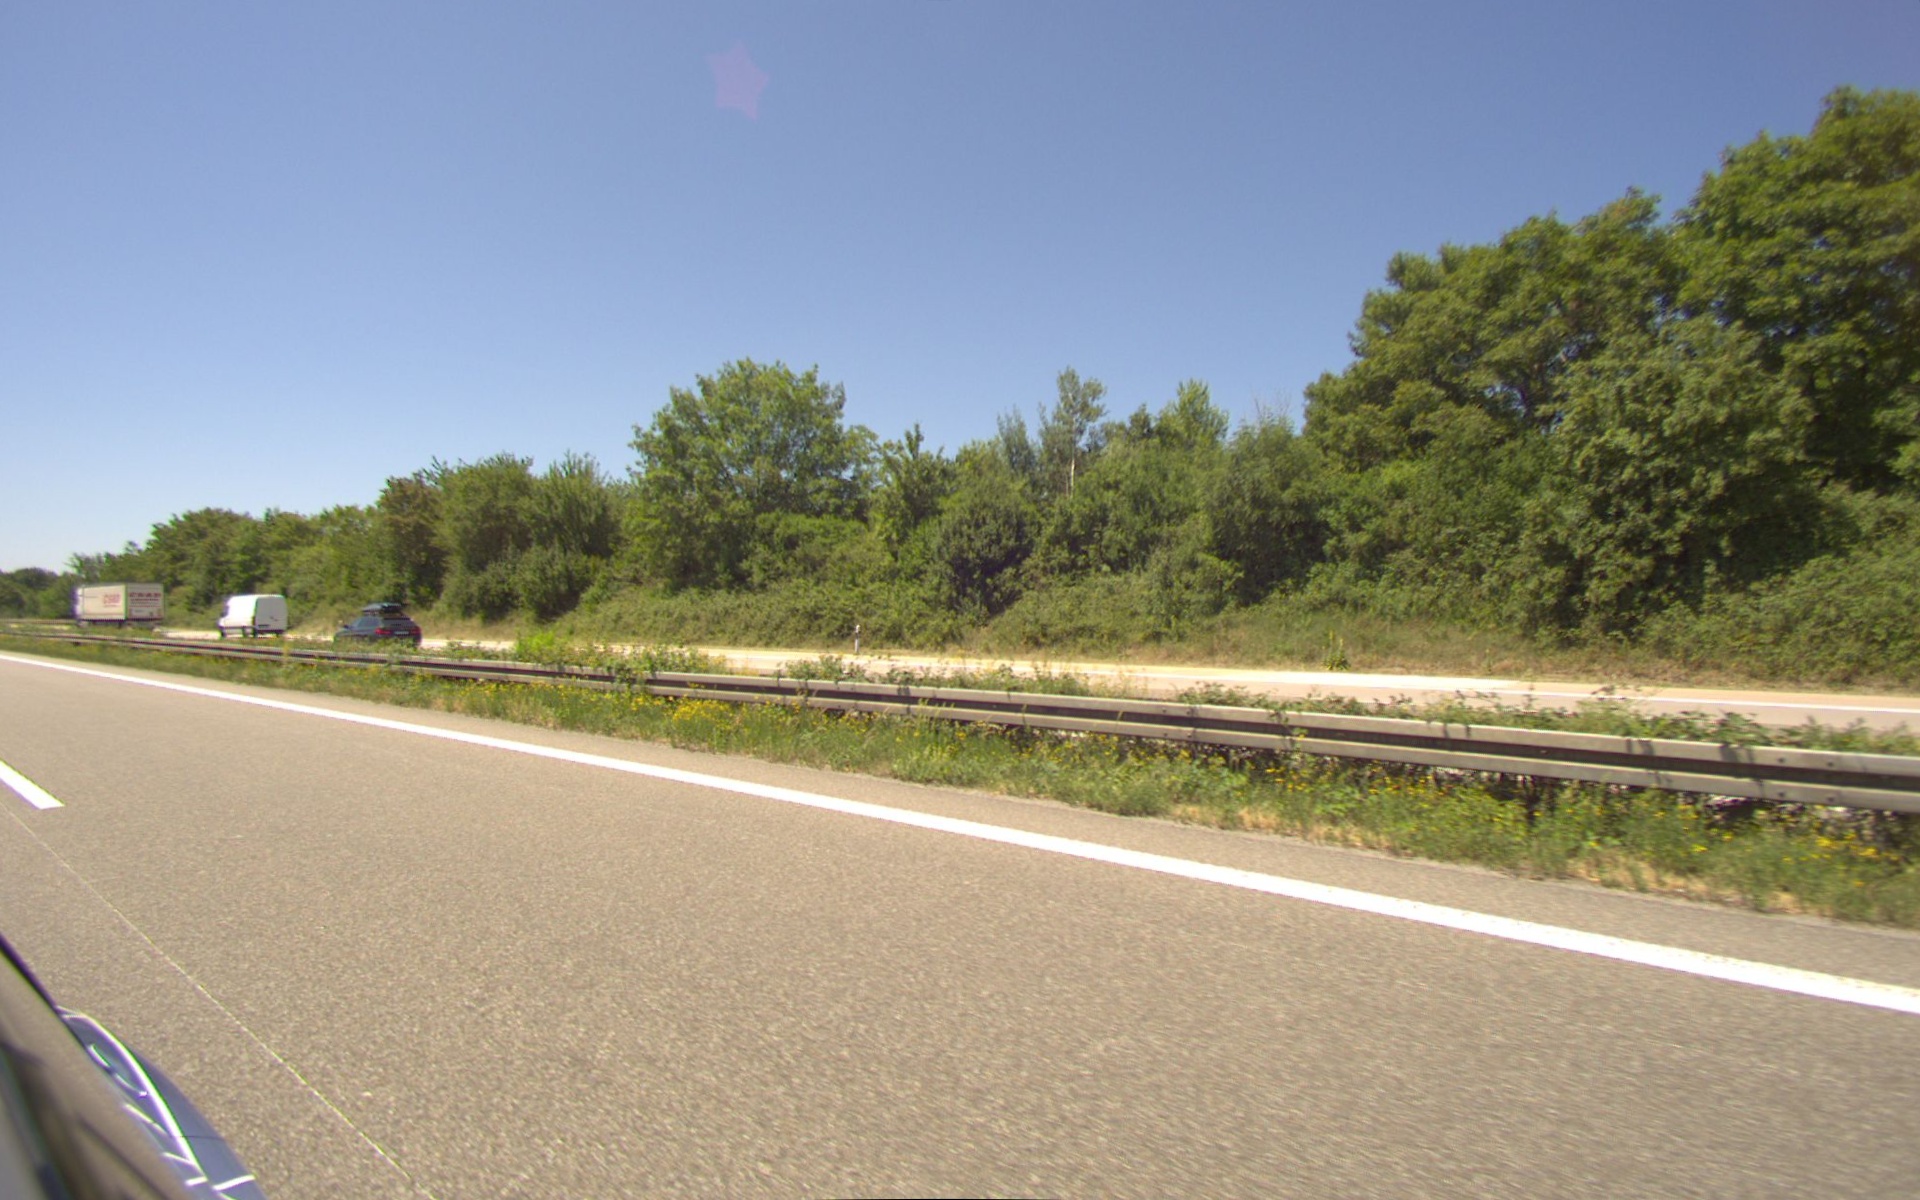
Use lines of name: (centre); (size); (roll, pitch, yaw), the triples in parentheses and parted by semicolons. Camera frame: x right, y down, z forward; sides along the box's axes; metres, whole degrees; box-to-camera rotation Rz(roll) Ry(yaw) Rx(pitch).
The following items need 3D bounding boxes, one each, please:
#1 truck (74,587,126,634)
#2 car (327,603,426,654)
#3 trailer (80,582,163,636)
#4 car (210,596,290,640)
truck: (-75.441, 0.929, 88.798); (4.439, 3.996, 2.675); (-1, -2, 39)
car: (-23.273, 1.125, 40.288); (4.952, 1.920, 1.808); (-1, -1, 40)
trailer: (-69.961, 0.799, 84.296); (13.544, 4.216, 2.679); (-1, -2, 39)
car: (-44.427, 1.117, 63.256); (7.385, 2.596, 2.206); (-1, -2, 40)
